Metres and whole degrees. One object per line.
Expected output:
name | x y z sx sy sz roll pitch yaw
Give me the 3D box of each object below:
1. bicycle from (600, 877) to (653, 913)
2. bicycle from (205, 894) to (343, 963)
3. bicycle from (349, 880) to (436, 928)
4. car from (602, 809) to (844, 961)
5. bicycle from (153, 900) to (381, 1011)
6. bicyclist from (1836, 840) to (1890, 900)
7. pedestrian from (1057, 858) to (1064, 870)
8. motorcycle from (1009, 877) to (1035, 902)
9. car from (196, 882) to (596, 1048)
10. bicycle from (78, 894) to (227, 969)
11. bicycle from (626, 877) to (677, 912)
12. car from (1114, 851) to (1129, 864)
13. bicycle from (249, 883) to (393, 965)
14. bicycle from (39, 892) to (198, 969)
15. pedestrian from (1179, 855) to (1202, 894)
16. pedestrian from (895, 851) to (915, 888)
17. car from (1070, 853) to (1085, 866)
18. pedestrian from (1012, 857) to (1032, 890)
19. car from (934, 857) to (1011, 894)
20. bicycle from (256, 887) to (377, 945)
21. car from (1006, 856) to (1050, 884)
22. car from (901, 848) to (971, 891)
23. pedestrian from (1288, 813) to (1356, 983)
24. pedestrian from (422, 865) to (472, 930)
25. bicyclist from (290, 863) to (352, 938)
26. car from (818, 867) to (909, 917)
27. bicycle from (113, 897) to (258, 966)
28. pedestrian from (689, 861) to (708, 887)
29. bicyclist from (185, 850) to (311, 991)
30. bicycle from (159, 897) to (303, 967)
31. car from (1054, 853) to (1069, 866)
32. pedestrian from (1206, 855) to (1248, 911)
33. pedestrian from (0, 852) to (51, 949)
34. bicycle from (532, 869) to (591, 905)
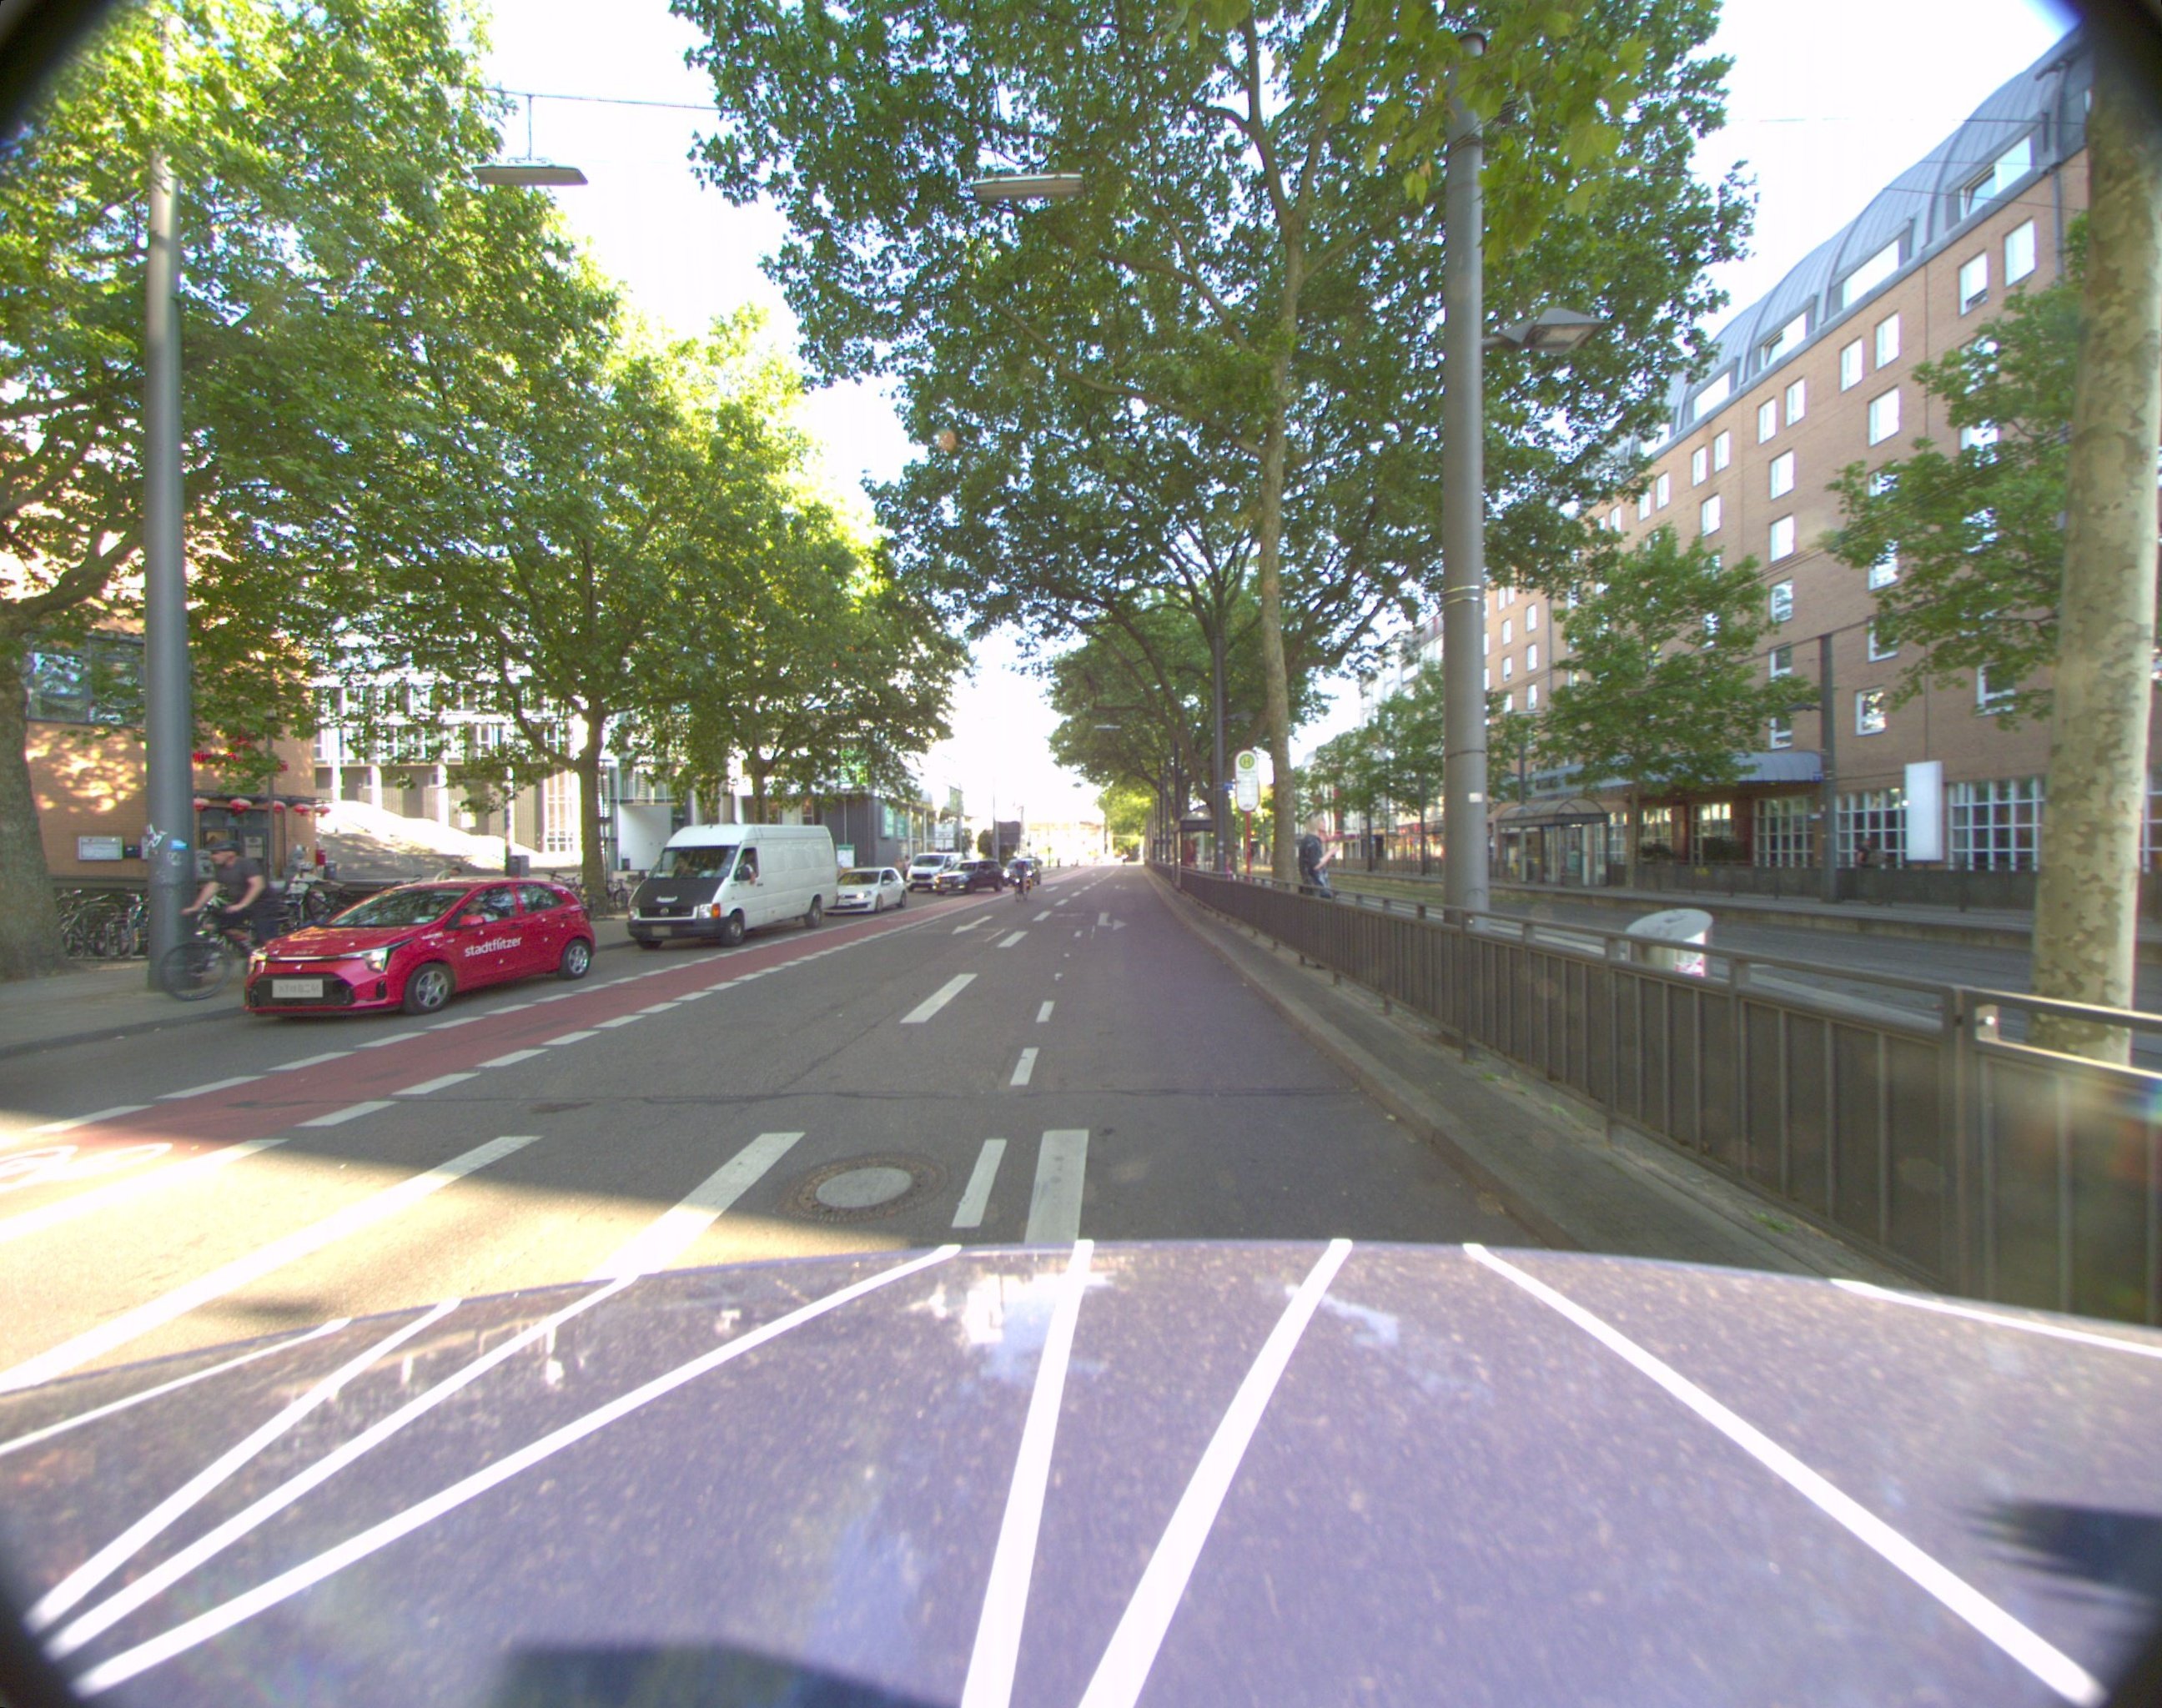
bicycle | -14.647 1.307 24.511 0.597 1.041 1.655 0 0 4
bicycle | -13.891 1.256 13.147 0.597 1.026 1.655 0 0 1
bicycle | -17.786 1.271 19.678 0.596 1.119 1.656 0 0 9
car | -7.563 0.556 17.140 1.998 2.708 6.562 -2 0 2
bicycle | -10.145 1.203 9.616 0.551 1.114 2.127 0 0 2
bicyclist | 23.357 0.470 22.705 0.752 1.775 0.852 0 1 4
pedestrian | -2.746 1.315 100.987 0.753 1.565 0.912 -1 1 6
motorcycle | -2.243 1.327 29.003 0.667 0.843 2.223 0 0 4
car | -7.951 1.169 9.349 1.562 1.455 3.621 -2 0 1
bicycle | -15.920 1.296 13.099 0.503 1.130 1.655 0 0 1
bicycle | -13.835 1.287 24.506 0.597 1.041 1.655 0 0 4
car | 6.013 0.444 112.140 1.958 1.760 3.999 -2 1 1
bicycle | -13.174 1.175 13.265 0.597 1.257 1.876 0 0 1
bicycle | -16.487 1.282 13.084 0.479 1.153 1.694 0 0 5
pedestrian | 3.999 0.749 27.827 0.735 1.379 0.640 -2 1 6
pedestrian | -9.618 0.830 41.579 0.808 2.002 0.665 -2 1 7
car | -0.499 0.787 112.299 1.998 1.681 3.999 -2 1 1
pedestrian | -2.246 0.737 28.893 0.665 1.218 0.775 0 1 4
car | -5.153 0.968 36.567 1.782 1.628 4.028 0 0 24
bicycle | -16.822 1.326 16.766 0.566 1.119 1.782 0 0 30
car | -3.151 0.949 46.043 1.758 1.565 4.003 0 0 10
car | -7.594 0.772 40.315 2.127 2.121 5.292 0 0 6
pedestrian | 2.803 0.489 8.894 0.511 1.889 0.760 -2 1 2
pedestrian | -16.215 1.095 19.437 0.718 1.622 0.636 0 1 7
bicyclist | -16.804 1.002 16.804 0.562 1.607 0.823 0 1 30
car | -7.031 1.183 24.943 1.671 1.455 3.869 0 0 3
bicycle | -15.362 1.296 13.096 0.503 1.026 1.655 0 0 1
pedestrian | -21.423 1.113 42.577 0.712 1.447 0.601 0 1 4
bicyclist | -10.306 0.798 9.428 0.752 1.678 0.714 0 1 2
bicycle | -14.597 1.308 13.125 0.597 1.026 1.655 0 0 1
car | -2.848 0.791 111.377 1.999 1.856 3.999 -2 1 -1
pedestrian | 3.766 0.739 19.641 0.979 1.392 0.664 -2 1 6
pedestrian | -19.967 0.846 13.917 0.788 1.747 1.020 0 1 6
bicycle | -16.137 1.014 23.661 0.597 1.041 1.655 0 0 4
